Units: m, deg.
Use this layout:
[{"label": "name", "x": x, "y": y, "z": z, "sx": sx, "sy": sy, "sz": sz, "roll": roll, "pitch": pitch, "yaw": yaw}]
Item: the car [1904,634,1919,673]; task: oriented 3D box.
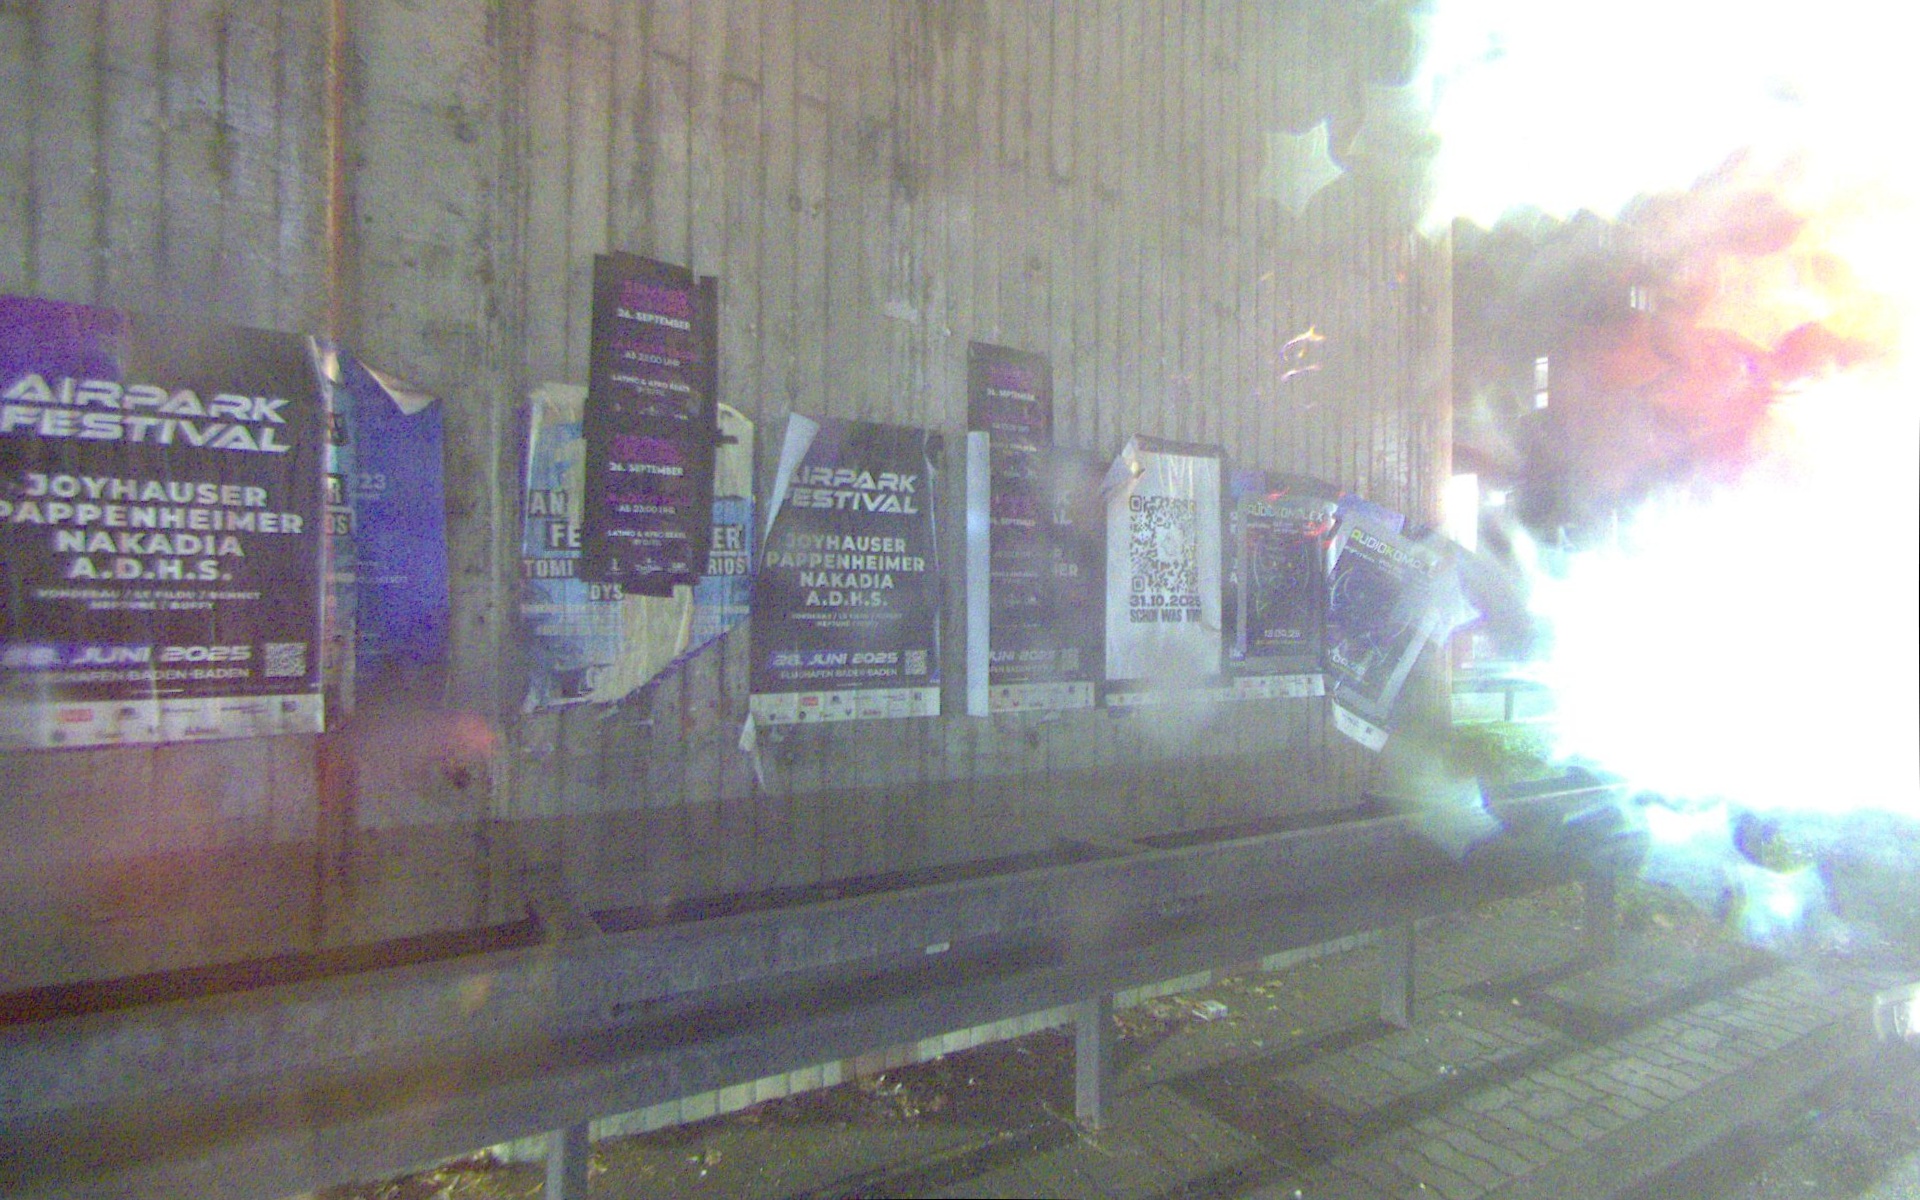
[{"label": "car", "x": 38.612, "y": 2.122, "z": 39.021, "sx": 3.953, "sy": 1.483, "sz": 1.816, "roll": 2, "pitch": -1, "yaw": -30}]

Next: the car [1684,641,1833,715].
[{"label": "car", "x": 18.564, "y": 1.754, "z": 23.322, "sx": 3.530, "sy": 1.536, "sz": 1.688, "roll": 2, "pitch": -1, "yaw": -33}]
